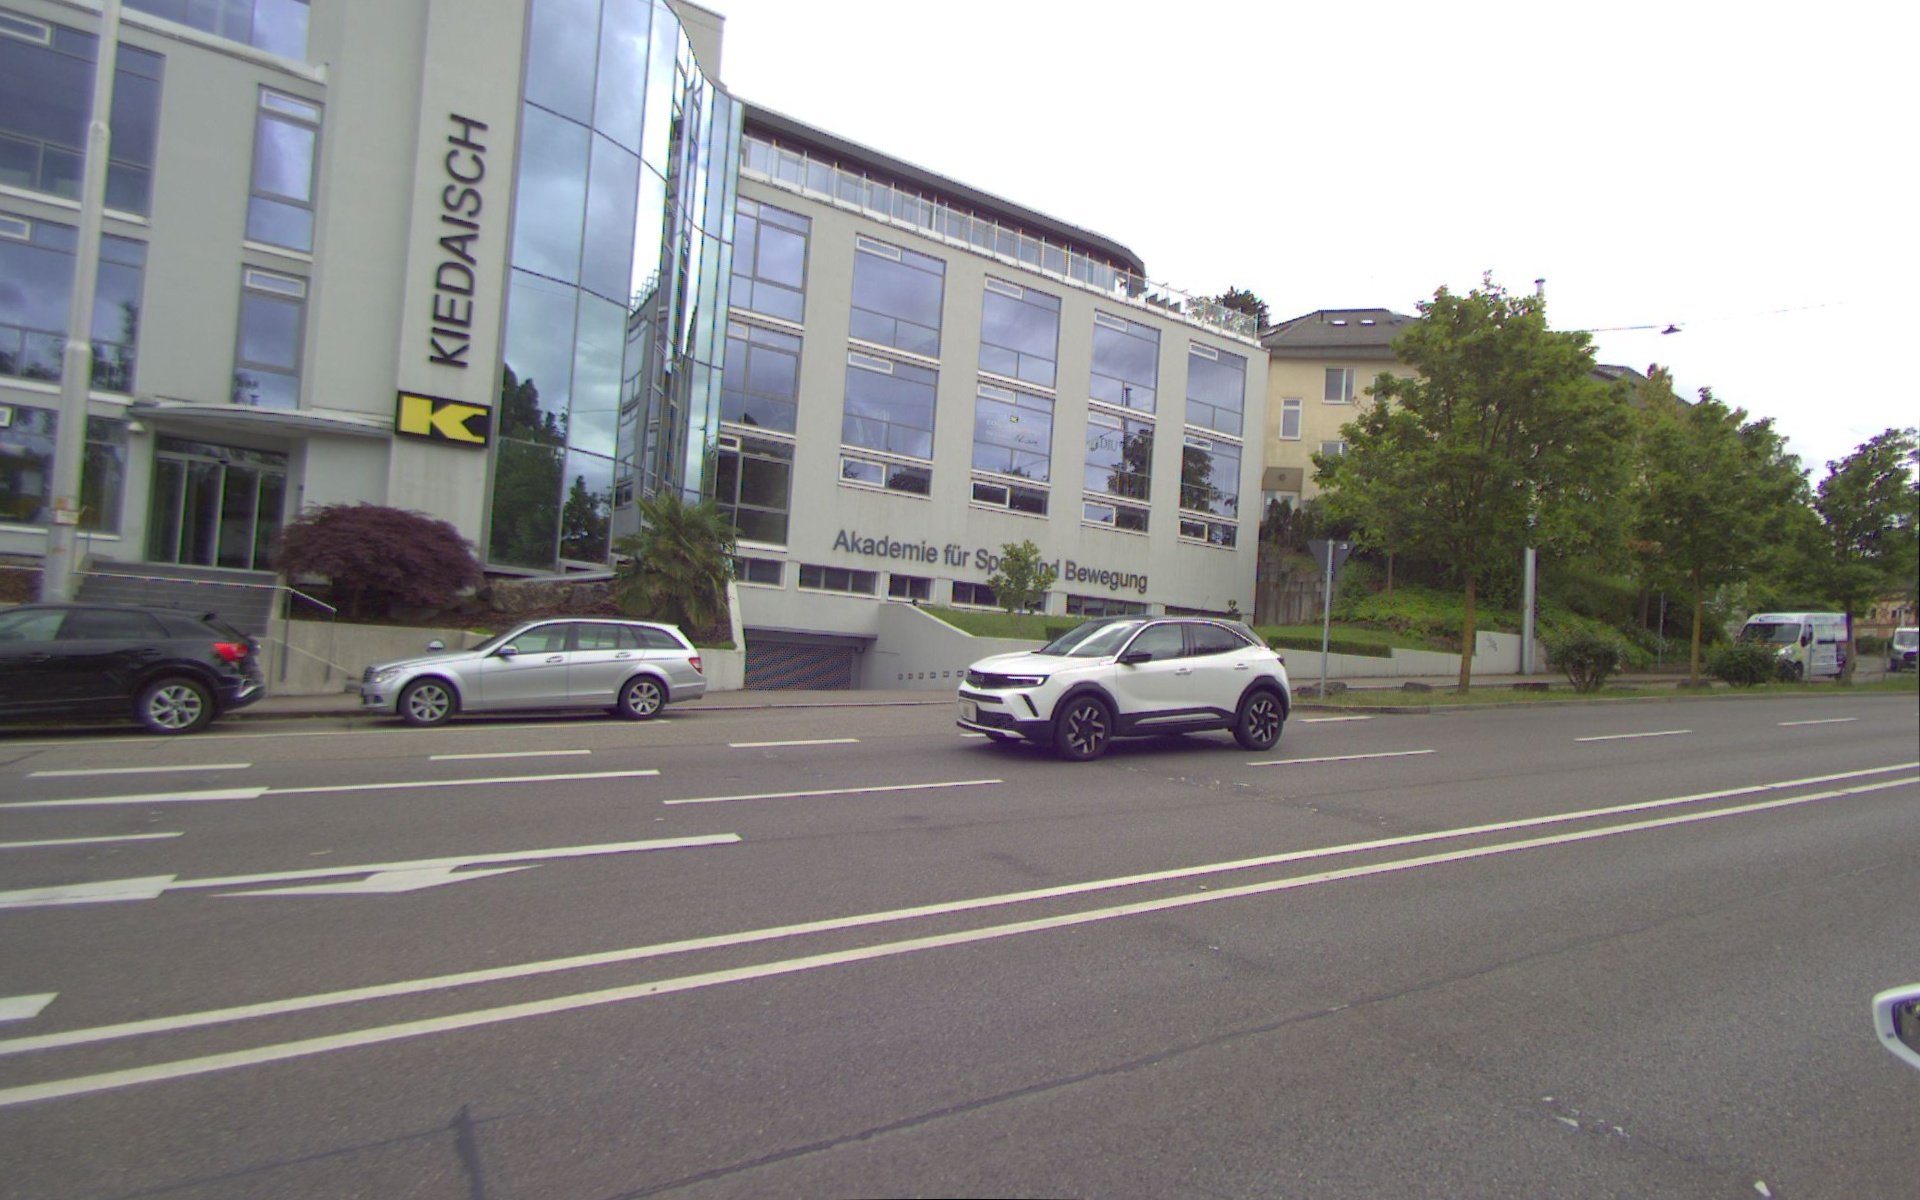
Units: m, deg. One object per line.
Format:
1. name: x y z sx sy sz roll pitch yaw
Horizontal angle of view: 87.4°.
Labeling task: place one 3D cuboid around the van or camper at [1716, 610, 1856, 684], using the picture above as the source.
1. van or camper: 29.838 1.676 36.246 5.640 2.505 1.985 2 -2 -29

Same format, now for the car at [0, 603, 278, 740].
1. car: -10.343 0.774 11.489 4.042 1.447 1.665 2 -2 -30

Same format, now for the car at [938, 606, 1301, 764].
1. car: 1.874 0.898 11.663 3.873 1.562 1.793 2 -1 -28

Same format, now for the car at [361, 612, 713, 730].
1. car: -5.914 0.952 14.268 4.373 1.447 1.663 2 -2 -34

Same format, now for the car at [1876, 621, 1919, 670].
1. car: 47.213 2.253 49.740 6.282 2.303 2.246 2 -2 -43
